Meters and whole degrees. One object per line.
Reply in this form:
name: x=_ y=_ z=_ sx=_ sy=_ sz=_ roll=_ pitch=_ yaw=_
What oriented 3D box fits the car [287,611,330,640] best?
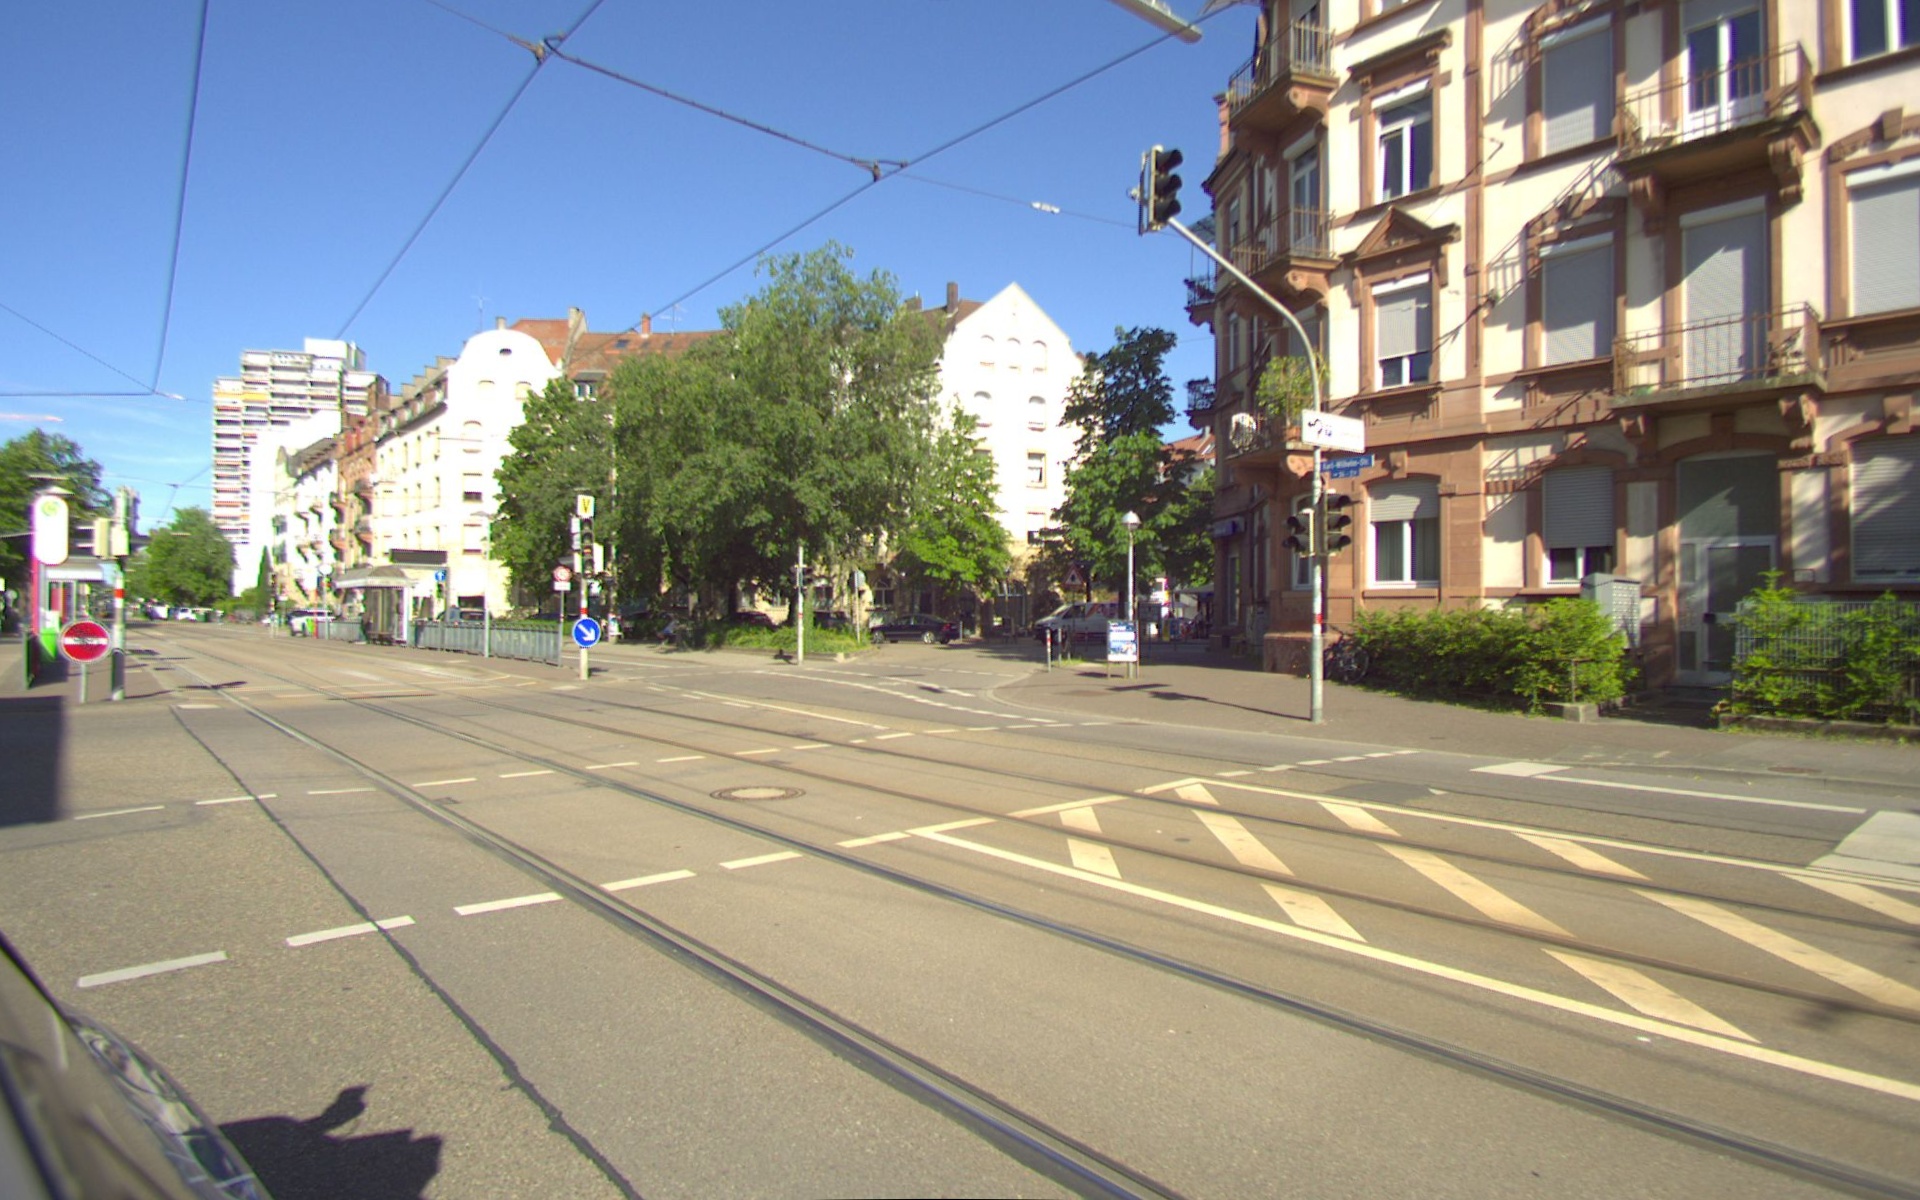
car: x=-38.210 y=1.485 z=59.303 sx=1.668 sy=1.552 sz=3.806 roll=4 pitch=-3 yaw=-38

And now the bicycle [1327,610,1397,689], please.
bicycle: x=7.240 y=0.856 z=18.303 sx=0.414 sy=1.306 sz=2.046 roll=-1 pitch=1 yaw=0

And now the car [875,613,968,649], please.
car: x=-1.783 y=1.431 z=47.154 sx=3.996 sy=1.554 sz=1.724 roll=0 pitch=-1 yaw=26

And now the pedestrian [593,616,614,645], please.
pedestrian: x=-16.156 y=1.371 z=45.839 sx=0.649 sy=1.291 sz=0.725 roll=-2 pitch=1 yaw=-41

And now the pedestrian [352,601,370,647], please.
pedestrian: x=-23.537 y=0.948 z=39.754 sx=0.459 sy=1.798 sz=0.674 roll=0 pitch=-1 yaw=-43

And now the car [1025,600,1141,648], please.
car: x=5.548 y=1.064 z=45.841 sx=4.777 sy=1.957 sz=1.930 roll=-1 pitch=1 yaw=-12

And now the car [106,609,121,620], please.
car: x=-159.079 y=2.734 z=190.154 sx=1.969 sy=2.029 sz=4.006 roll=-2 pitch=1 yaw=-41

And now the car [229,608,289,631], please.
car: x=-58.031 y=1.596 z=83.809 sx=1.819 sy=1.600 sz=3.832 roll=5 pitch=5 yaw=43

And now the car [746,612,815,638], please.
car: x=-9.379 y=1.293 z=52.746 sx=3.448 sy=1.224 sz=1.510 roll=-1 pitch=1 yaw=34

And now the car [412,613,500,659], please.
car: x=-19.402 y=1.337 z=38.874 sx=1.874 sy=1.630 sz=4.269 roll=2 pitch=-2 yaw=-43

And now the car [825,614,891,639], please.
car: x=-5.030 y=1.284 z=49.674 sx=3.142 sy=1.103 sz=1.449 roll=-1 pitch=1 yaw=40
